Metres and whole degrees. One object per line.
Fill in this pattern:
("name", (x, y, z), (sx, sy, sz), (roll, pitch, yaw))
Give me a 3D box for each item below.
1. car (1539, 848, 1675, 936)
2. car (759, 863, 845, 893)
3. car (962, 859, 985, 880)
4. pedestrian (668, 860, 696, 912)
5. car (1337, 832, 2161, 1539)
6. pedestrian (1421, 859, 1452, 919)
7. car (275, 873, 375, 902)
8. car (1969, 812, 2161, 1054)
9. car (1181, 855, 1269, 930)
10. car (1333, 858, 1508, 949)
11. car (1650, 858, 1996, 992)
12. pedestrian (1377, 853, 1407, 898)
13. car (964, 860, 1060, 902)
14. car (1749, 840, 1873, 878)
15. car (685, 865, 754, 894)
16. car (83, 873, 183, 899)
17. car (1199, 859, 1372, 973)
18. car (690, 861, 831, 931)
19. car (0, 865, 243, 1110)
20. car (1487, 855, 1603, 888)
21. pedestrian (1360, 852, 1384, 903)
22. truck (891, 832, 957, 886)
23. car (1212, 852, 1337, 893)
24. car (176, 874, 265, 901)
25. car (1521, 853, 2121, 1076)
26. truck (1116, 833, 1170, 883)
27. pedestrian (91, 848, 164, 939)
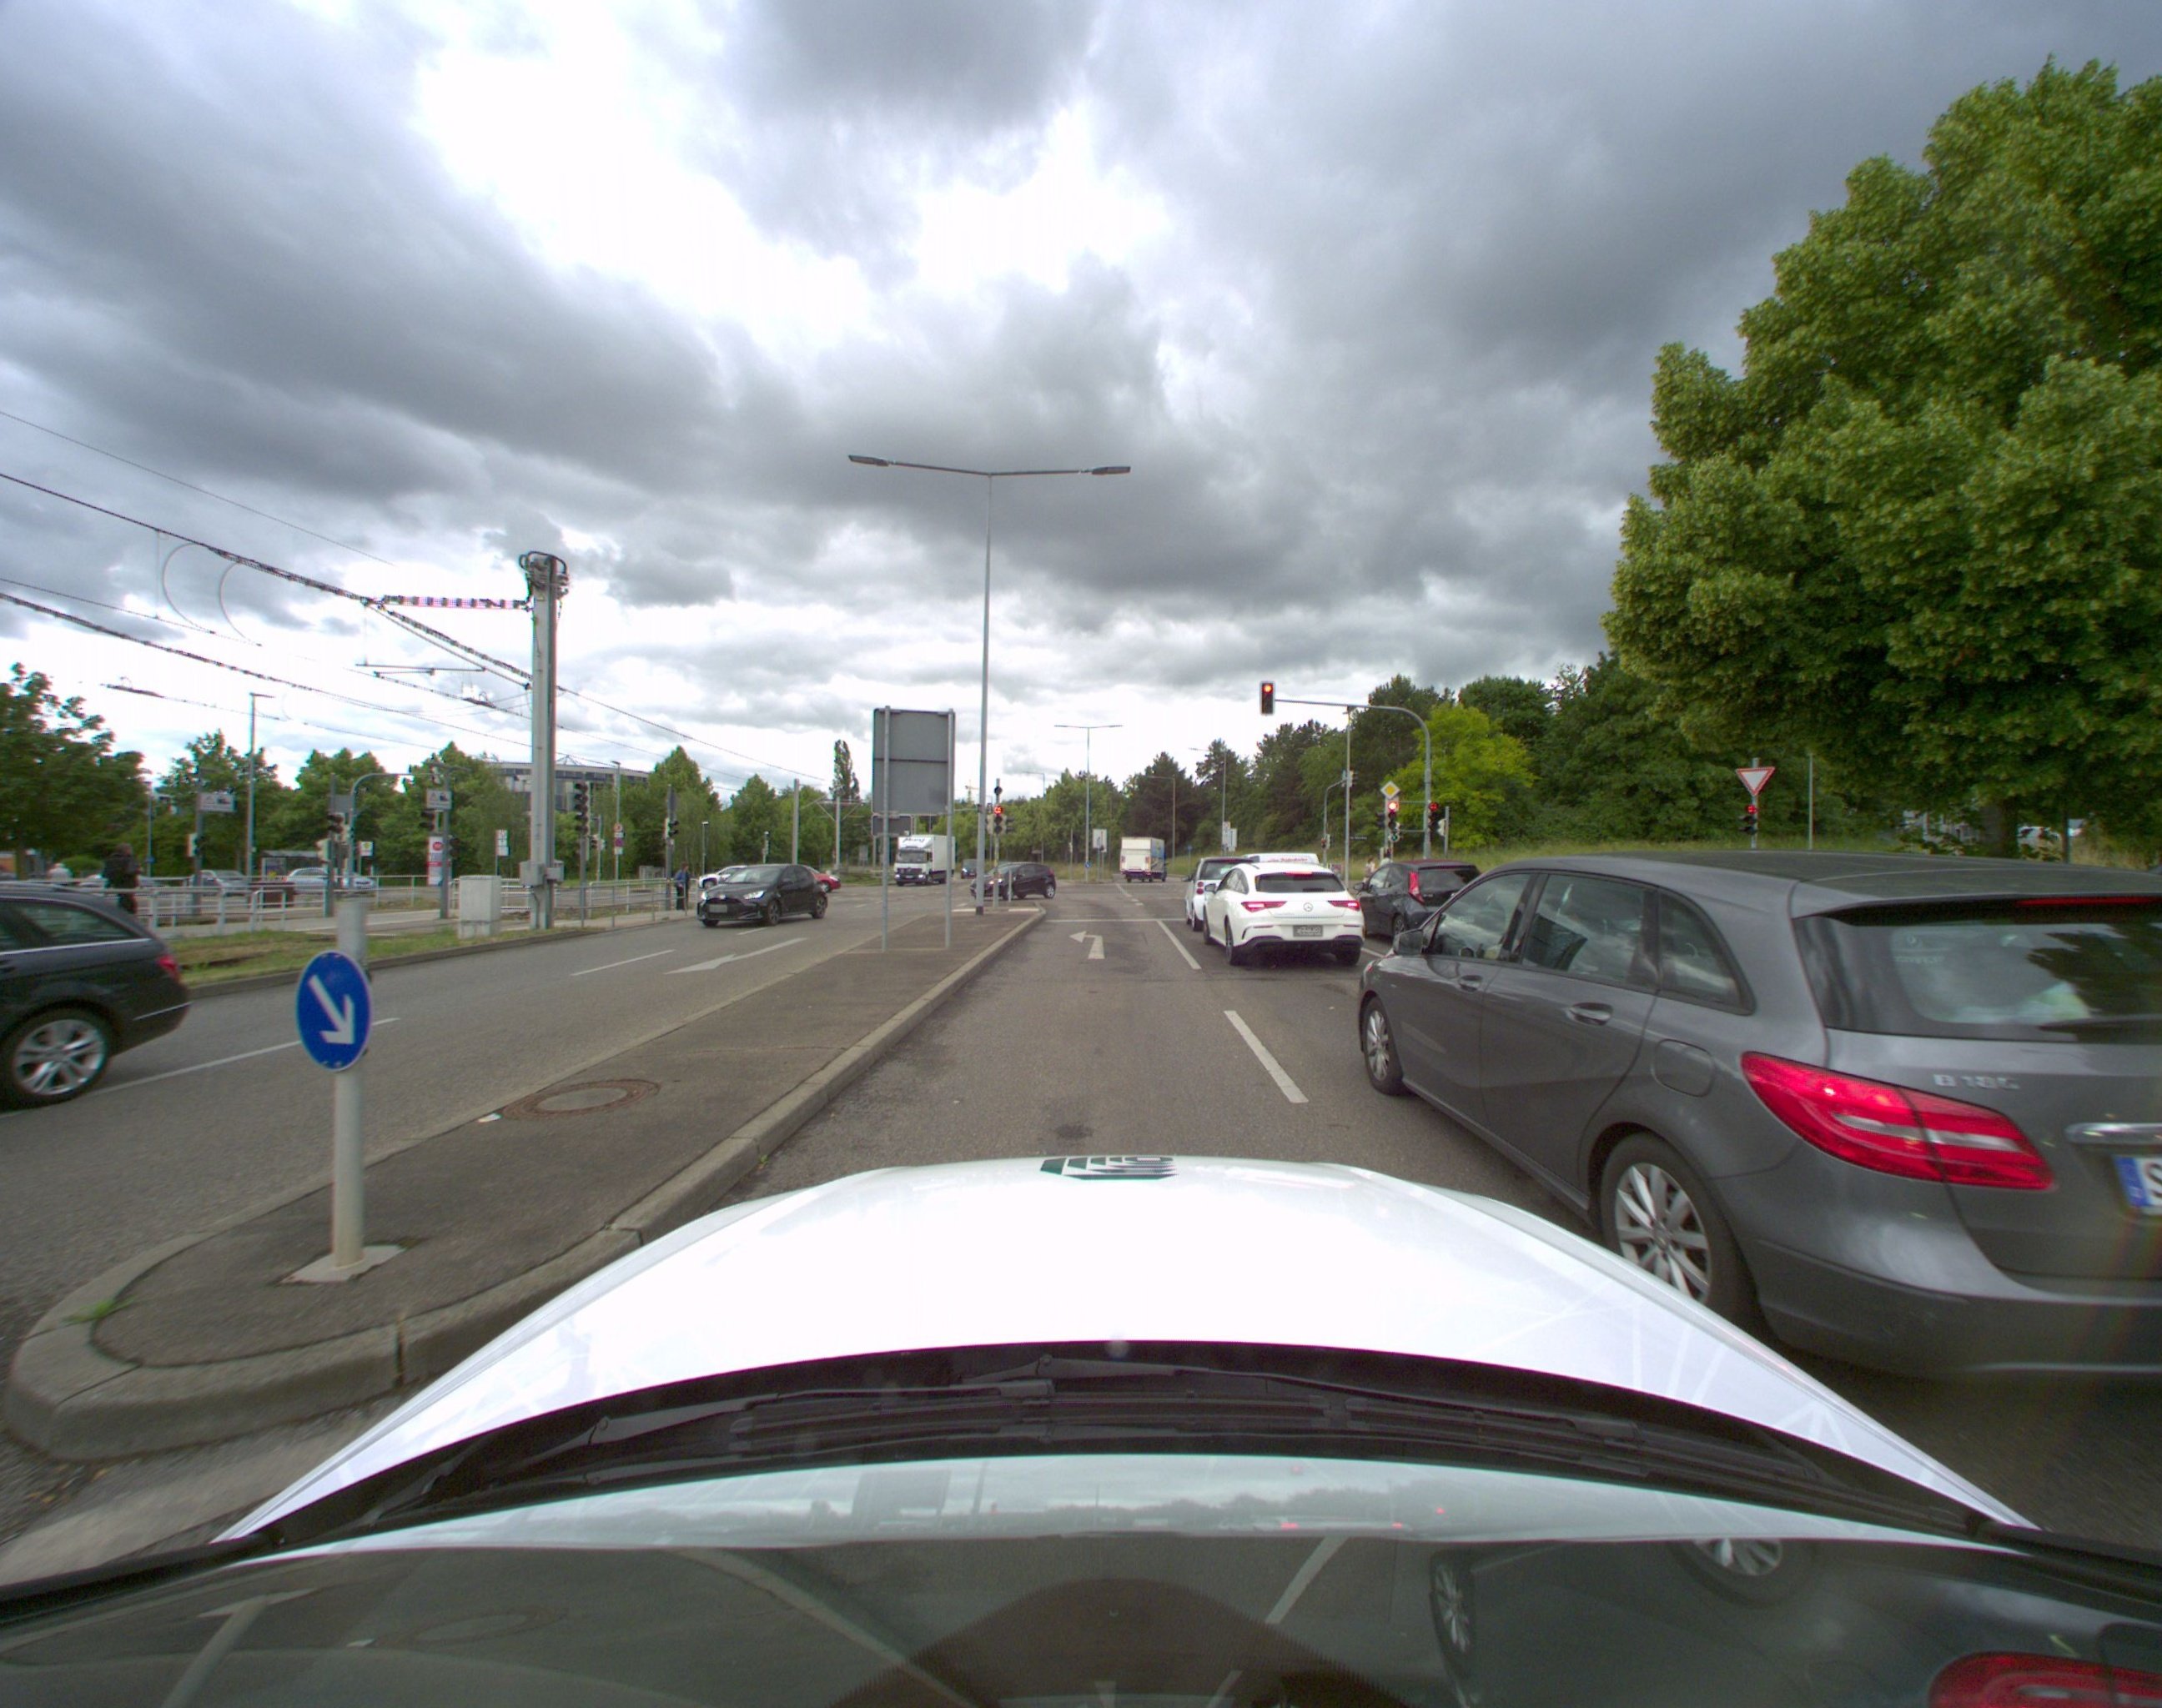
("car", (11.307, 0.720, 17.811), (1.687, 1.638, 4.266), (1, 0, 22))
("car", (-14.874, 1.294, 43.588), (3.983, 1.517, 1.728), (1, -3, -7))
("car", (-10.273, 1.466, 78.016), (1.912, 1.727, 3.995), (-1, 3, -4))
("pedestrian", (-12.450, 0.983, 25.432), (0.349, 1.556, 0.657), (1, 3, 36))
("car", (2.650, 0.707, 3.842), (1.791, 1.523, 4.192), (-1, 0, 4))
("pedestrian", (8.660, 0.852, 19.845), (0.607, 1.453, 0.355), (0, -1, 10))
("car", (-38.197, 1.694, 41.187), (3.964, 1.377, 1.522), (-1, 0, 9))
("car", (8.895, 0.572, 5.127), (1.818, 1.803, 4.509), (-1, 0, 3))
("car", (3.082, 0.800, 17.879), (1.529, 1.504, 2.671), (-1, -1, 2))
("car", (5.901, 0.784, 14.678), (1.540, 1.404, 4.001), (-1, 0, 1))
("car", (9.385, 0.791, 10.743), (1.506, 1.437, 3.647), (-1, 0, 6))
("pedestrian", (10.944, 0.745, 28.645), (0.861, 1.560, 0.518), (-1, 0, 0))
("car", (-2.656, 1.013, 31.955), (1.618, 1.480, 3.802), (-1, 0, 36))
("car", (33.674, 0.224, 37.652), (3.969, 1.601, 1.840), (-1, 0, 4))
("car", (-21.882, 1.512, 49.424), (3.751, 1.507, 1.768), (-2, 3, -23))
("car", (-50.142, 1.700, 43.104), (3.715, 1.310, 1.727), (-1, 0, 8))
("car", (2.931, 0.810, 12.623), (1.715, 1.422, 4.358), (-1, 0, 2))
("car", (-7.825, 0.963, 20.308), (1.585, 1.496, 3.946), (-1, 0, 6))
("car", (-7.258, 0.823, 3.997), (1.687, 1.439, 4.541), (-1, 0, -2))
("car", (22.173, 0.824, 39.082), (4.460, 1.461, 2.007), (-1, 0, 12))
("pedestrian", (9.331, 0.747, 26.124), (0.607, 1.634, 0.616), (0, -1, 10))
("truck", (-11.365, 0.367, 59.887), (2.649, 3.649, 9.507), (0, -1, 2))
("car", (9.185, 0.883, 38.907), (5.411, 1.816, 1.996), (-1, -2, -6))
("car", (-44.682, 1.729, 42.315), (3.264, 1.310, 1.556), (-1, 0, 8))
("car", (5.992, 0.724, 7.462), (1.818, 1.435, 4.216), (-1, 0, 3))
("truck", (4.943, 0.314, 63.249), (2.662, 3.599, 7.295), (0, 0, 17))
("pedestrian", (-19.663, 0.795, 16.810), (0.570, 1.827, 0.793), (0, 0, -2))
